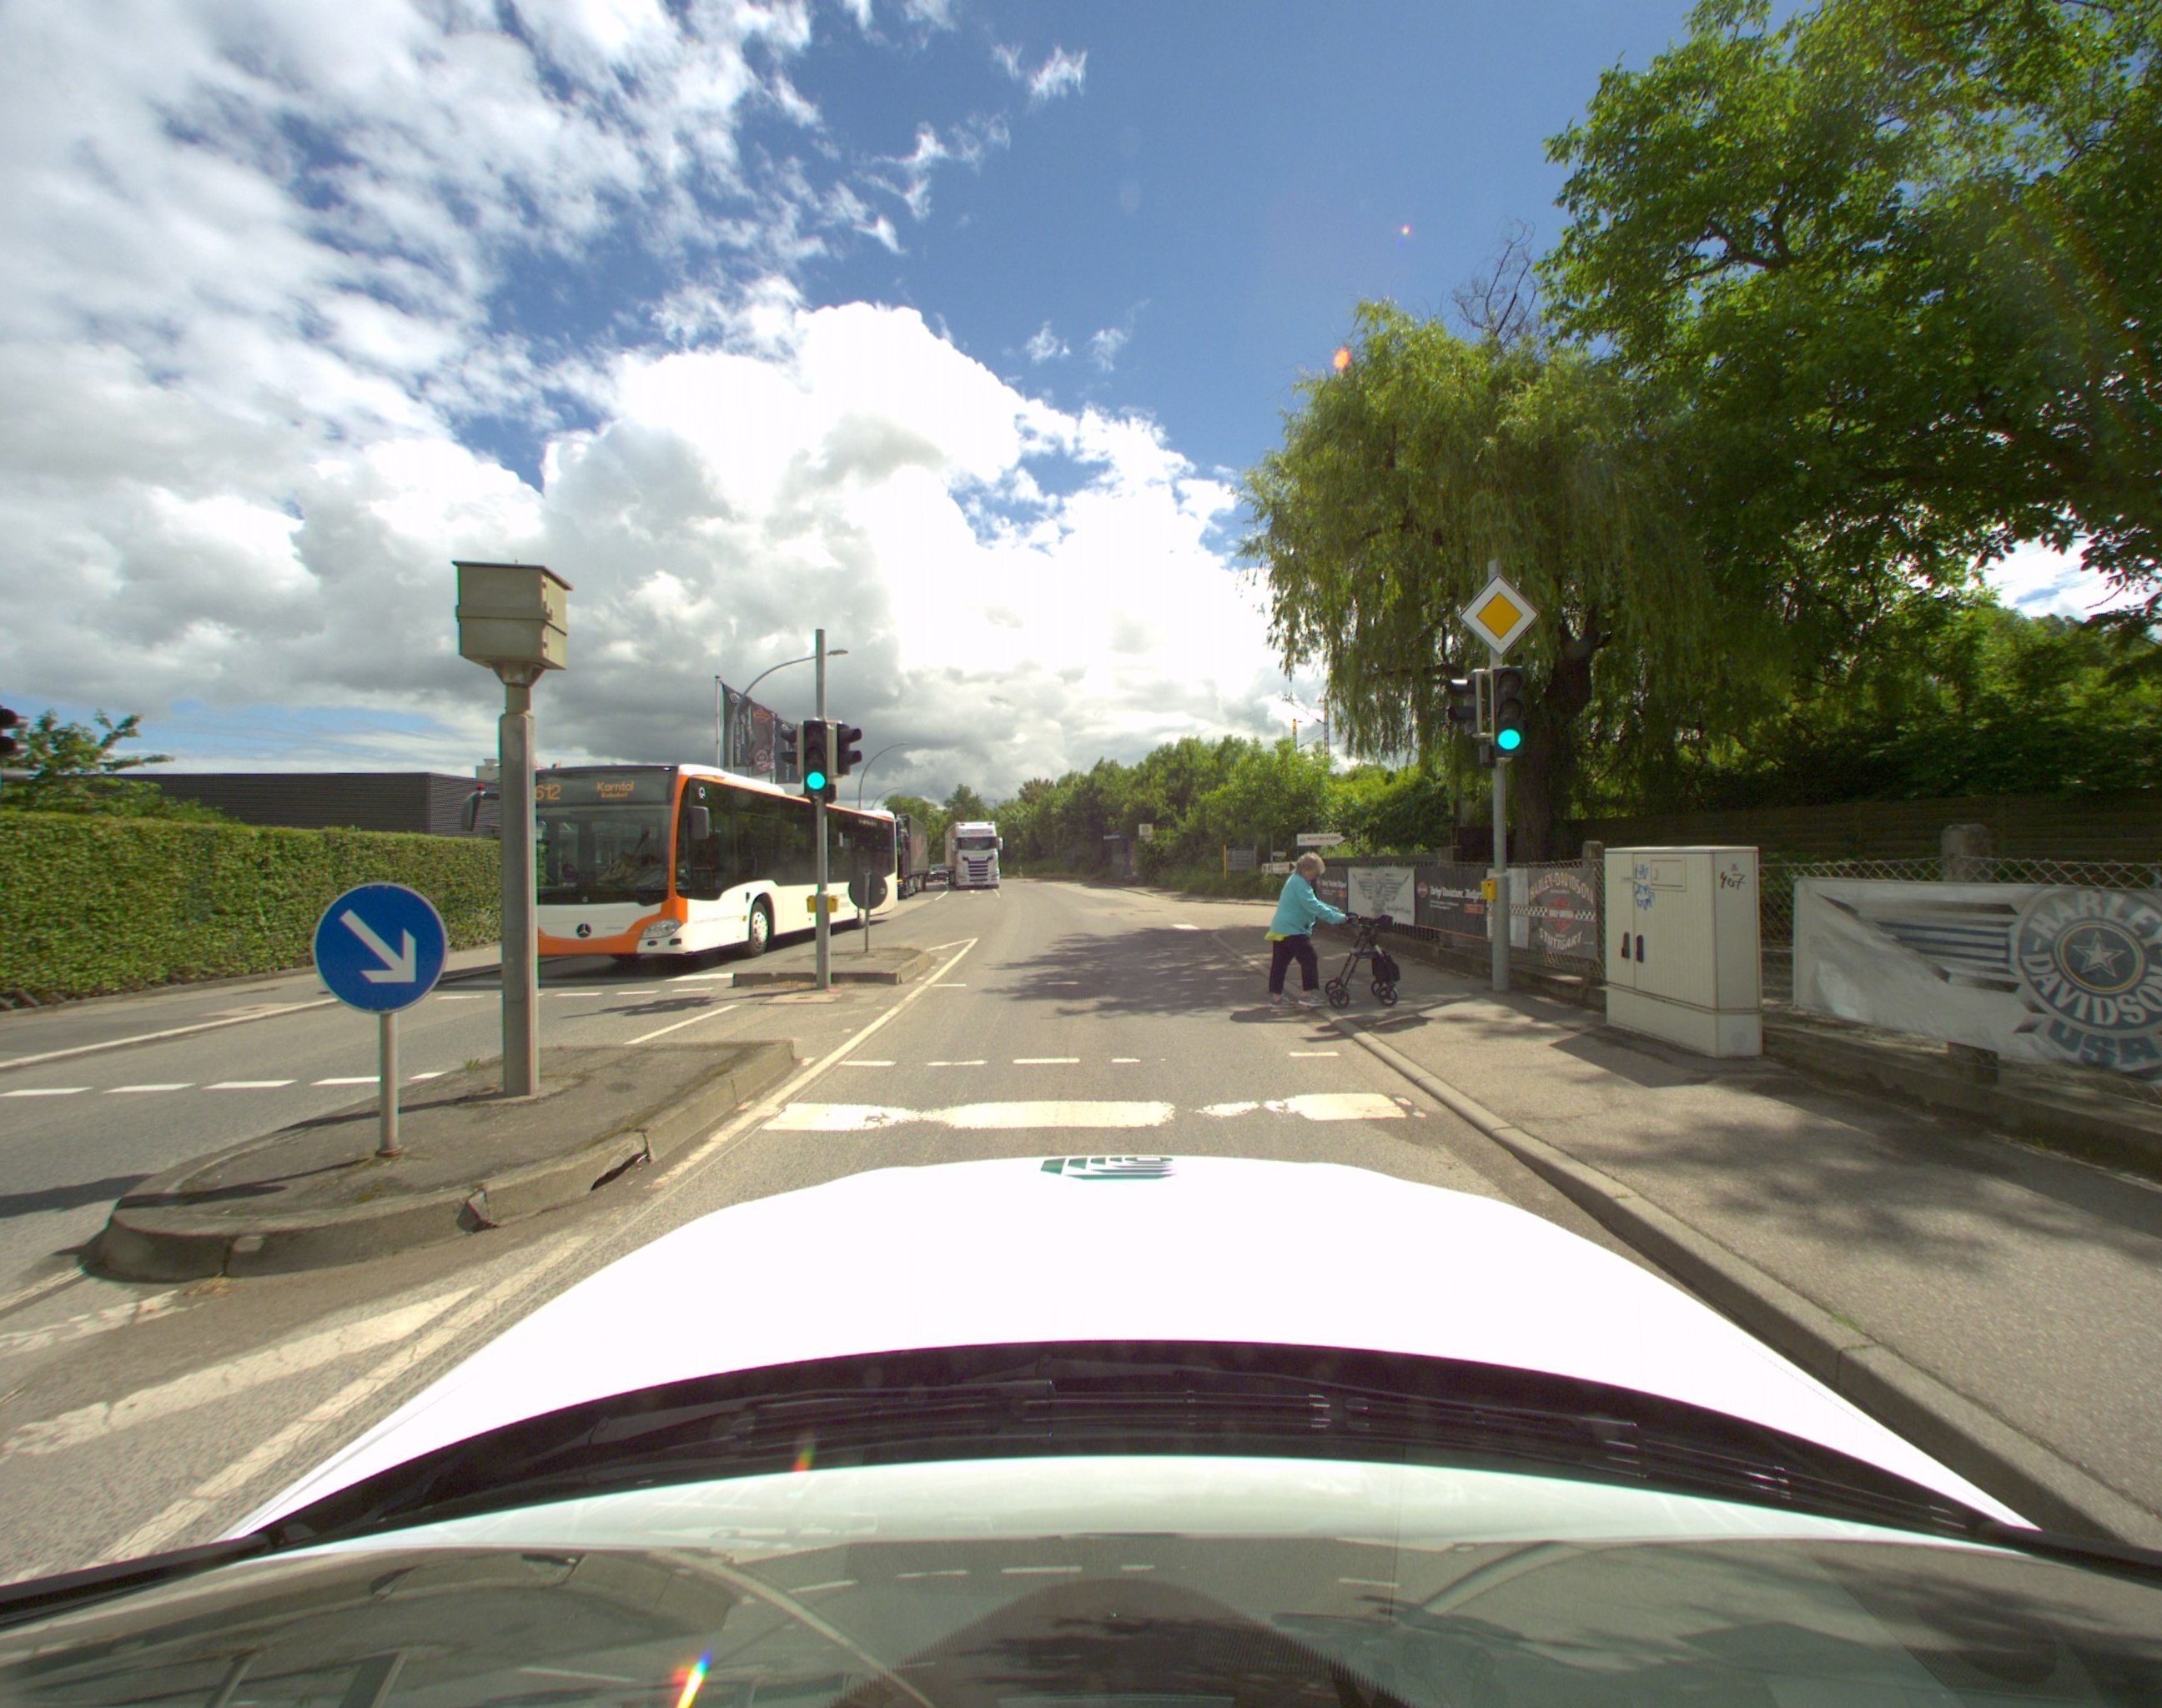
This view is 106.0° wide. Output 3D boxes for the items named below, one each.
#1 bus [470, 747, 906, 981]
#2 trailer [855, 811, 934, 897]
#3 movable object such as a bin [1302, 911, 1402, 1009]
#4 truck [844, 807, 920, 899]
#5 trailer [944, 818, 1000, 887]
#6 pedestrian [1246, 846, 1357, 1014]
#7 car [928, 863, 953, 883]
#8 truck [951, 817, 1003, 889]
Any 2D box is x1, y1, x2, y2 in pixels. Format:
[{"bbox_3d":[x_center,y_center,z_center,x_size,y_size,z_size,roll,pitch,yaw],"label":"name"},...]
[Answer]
[{"bbox_3d":[-6.534,0.224,16.909,2.708,3.031,12.270,-2,-1,2],"label":"bus"},{"bbox_3d":[-10.293,0.113,46.607,2.796,4.053,15.516,0,-1,-7],"label":"trailer"},{"bbox_3d":[2.626,1.016,7.947,0.744,0.872,0.670,0,-1,-1],"label":"movable object such as a bin"},{"bbox_3d":[-9.445,-0.002,39.334,2.796,4.053,6.484,0,-1,-7],"label":"truck"},{"bbox_3d":[-7.787,0.042,56.383,2.773,4.145,15.287,0,-1,-12],"label":"trailer"},{"bbox_3d":[2.131,0.710,7.962,0.836,1.543,0.734,-2,-1,-1],"label":"pedestrian"},{"bbox_3d":[-12.374,1.658,71.633,1.995,1.706,3.983,0,-1,-12],"label":"car"},{"bbox_3d":[-6.379,-0.013,49.466,2.773,4.119,4.965,0,-1,-12],"label":"truck"}]
